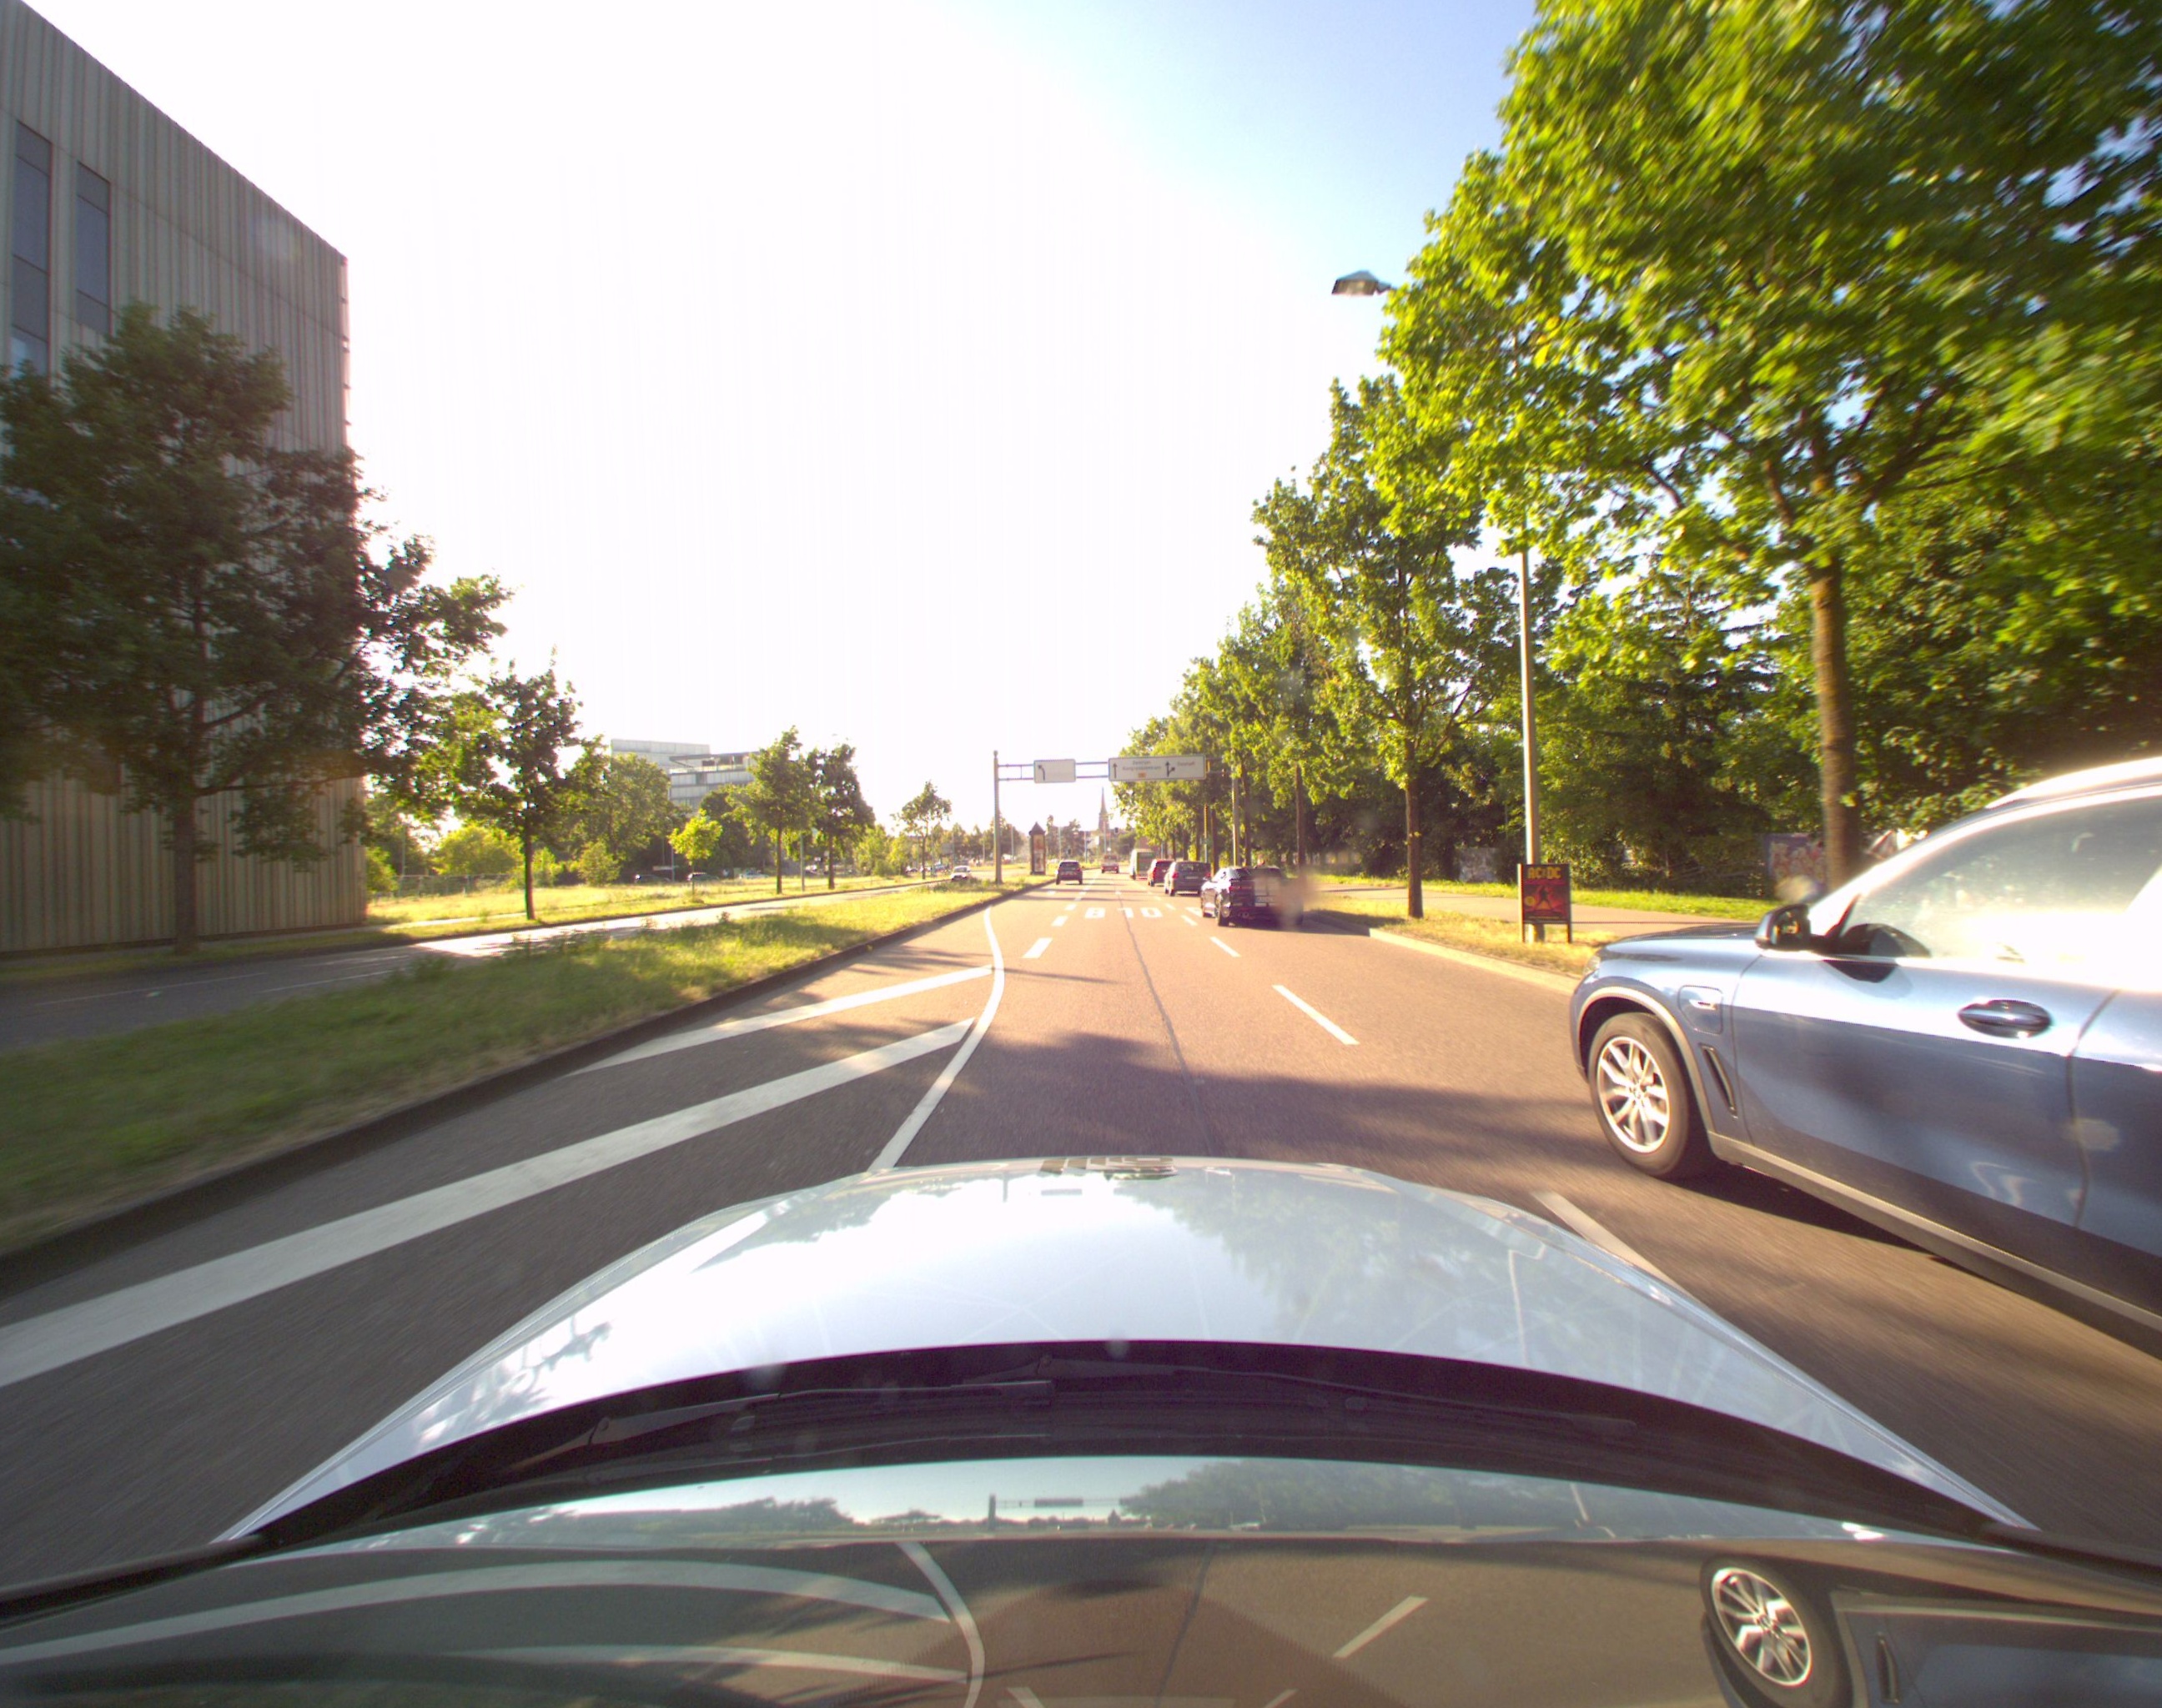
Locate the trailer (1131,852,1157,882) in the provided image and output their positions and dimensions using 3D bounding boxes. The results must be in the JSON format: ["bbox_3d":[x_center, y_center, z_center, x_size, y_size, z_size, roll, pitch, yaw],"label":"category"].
[{"bbox_3d":[5.282,1.073,68.910,2.082,2.400,3.502,0,0,2],"label":"trailer"}]

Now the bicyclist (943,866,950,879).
[{"bbox_3d":[-18.408,2.567,111.601,0.806,1.770,0.498,-1,-1,16],"label":"bicyclist"}]

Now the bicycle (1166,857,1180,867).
[{"bbox_3d":[12.701,1.105,112.679,1.885,1.244,0.613,-4,-1,38],"label":"bicycle"}]

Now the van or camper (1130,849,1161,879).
[{"bbox_3d":[5.861,0.906,74.887,2.277,2.629,6.582,-1,0,0],"label":"van or camper"}]

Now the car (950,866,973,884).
[{"bbox_3d":[-10.949,1.899,74.721,1.558,1.575,3.411,-2,-1,-1],"label":"car"}]

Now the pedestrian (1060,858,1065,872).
[{"bbox_3d":[-2.433,1.462,108.970,0.483,1.844,0.721,-2,-1,9],"label":"pedestrian"}]

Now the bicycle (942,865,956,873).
[{"bbox_3d":[-18.256,2.070,112.695,1.897,1.019,0.505,-1,-1,8],"label":"bicycle"}]

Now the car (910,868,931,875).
[{"bbox_3d":[-35.261,3.920,179.226,4.108,1.376,1.678,-3,0,12],"label":"car"}]

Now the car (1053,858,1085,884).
[{"bbox_3d":[-0.847,1.150,55.630,1.902,1.660,3.994,-2,-1,-4],"label":"car"}]

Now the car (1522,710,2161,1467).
[{"bbox_3d":[3.449,0.533,2.326,1.947,1.727,4.701,-1,-1,2],"label":"car"}]

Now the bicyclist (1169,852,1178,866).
[{"bbox_3d":[12.758,0.675,112.635,0.927,1.899,0.605,-4,-1,38],"label":"bicyclist"}]

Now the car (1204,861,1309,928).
[{"bbox_3d":[4.028,0.871,19.422,1.845,1.338,4.631,-1,0,5],"label":"car"}]

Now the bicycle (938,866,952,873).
[{"bbox_3d":[-18.605,2.143,111.665,1.893,1.019,0.506,-1,-1,17],"label":"bicycle"}]

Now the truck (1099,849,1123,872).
[{"bbox_3d":[3.632,0.782,99.764,2.572,2.558,6.251,-2,0,0],"label":"truck"}]

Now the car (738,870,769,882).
[{"bbox_3d":[-47.470,3.168,118.038,3.729,1.508,1.853,-2,0,-41],"label":"car"}]

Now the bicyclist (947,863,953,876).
[{"bbox_3d":[-18.119,2.128,112.681,0.808,1.789,0.497,0,-1,9],"label":"bicyclist"}]

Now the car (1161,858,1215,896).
[{"bbox_3d":[4.530,0.939,34.932,1.742,1.473,3.818,-2,0,0],"label":"car"}]

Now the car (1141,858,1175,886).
[{"bbox_3d":[4.542,1.032,48.706,1.741,1.621,3.820,0,0,1],"label":"car"}]

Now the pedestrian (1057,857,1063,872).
[{"bbox_3d":[-2.841,1.397,109.203,0.788,2.013,0.700,-1,0,-5],"label":"pedestrian"}]

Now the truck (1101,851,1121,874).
[{"bbox_3d":[3.599,1.062,99.262,2.212,2.651,4.773,-2,0,0],"label":"truck"}]
